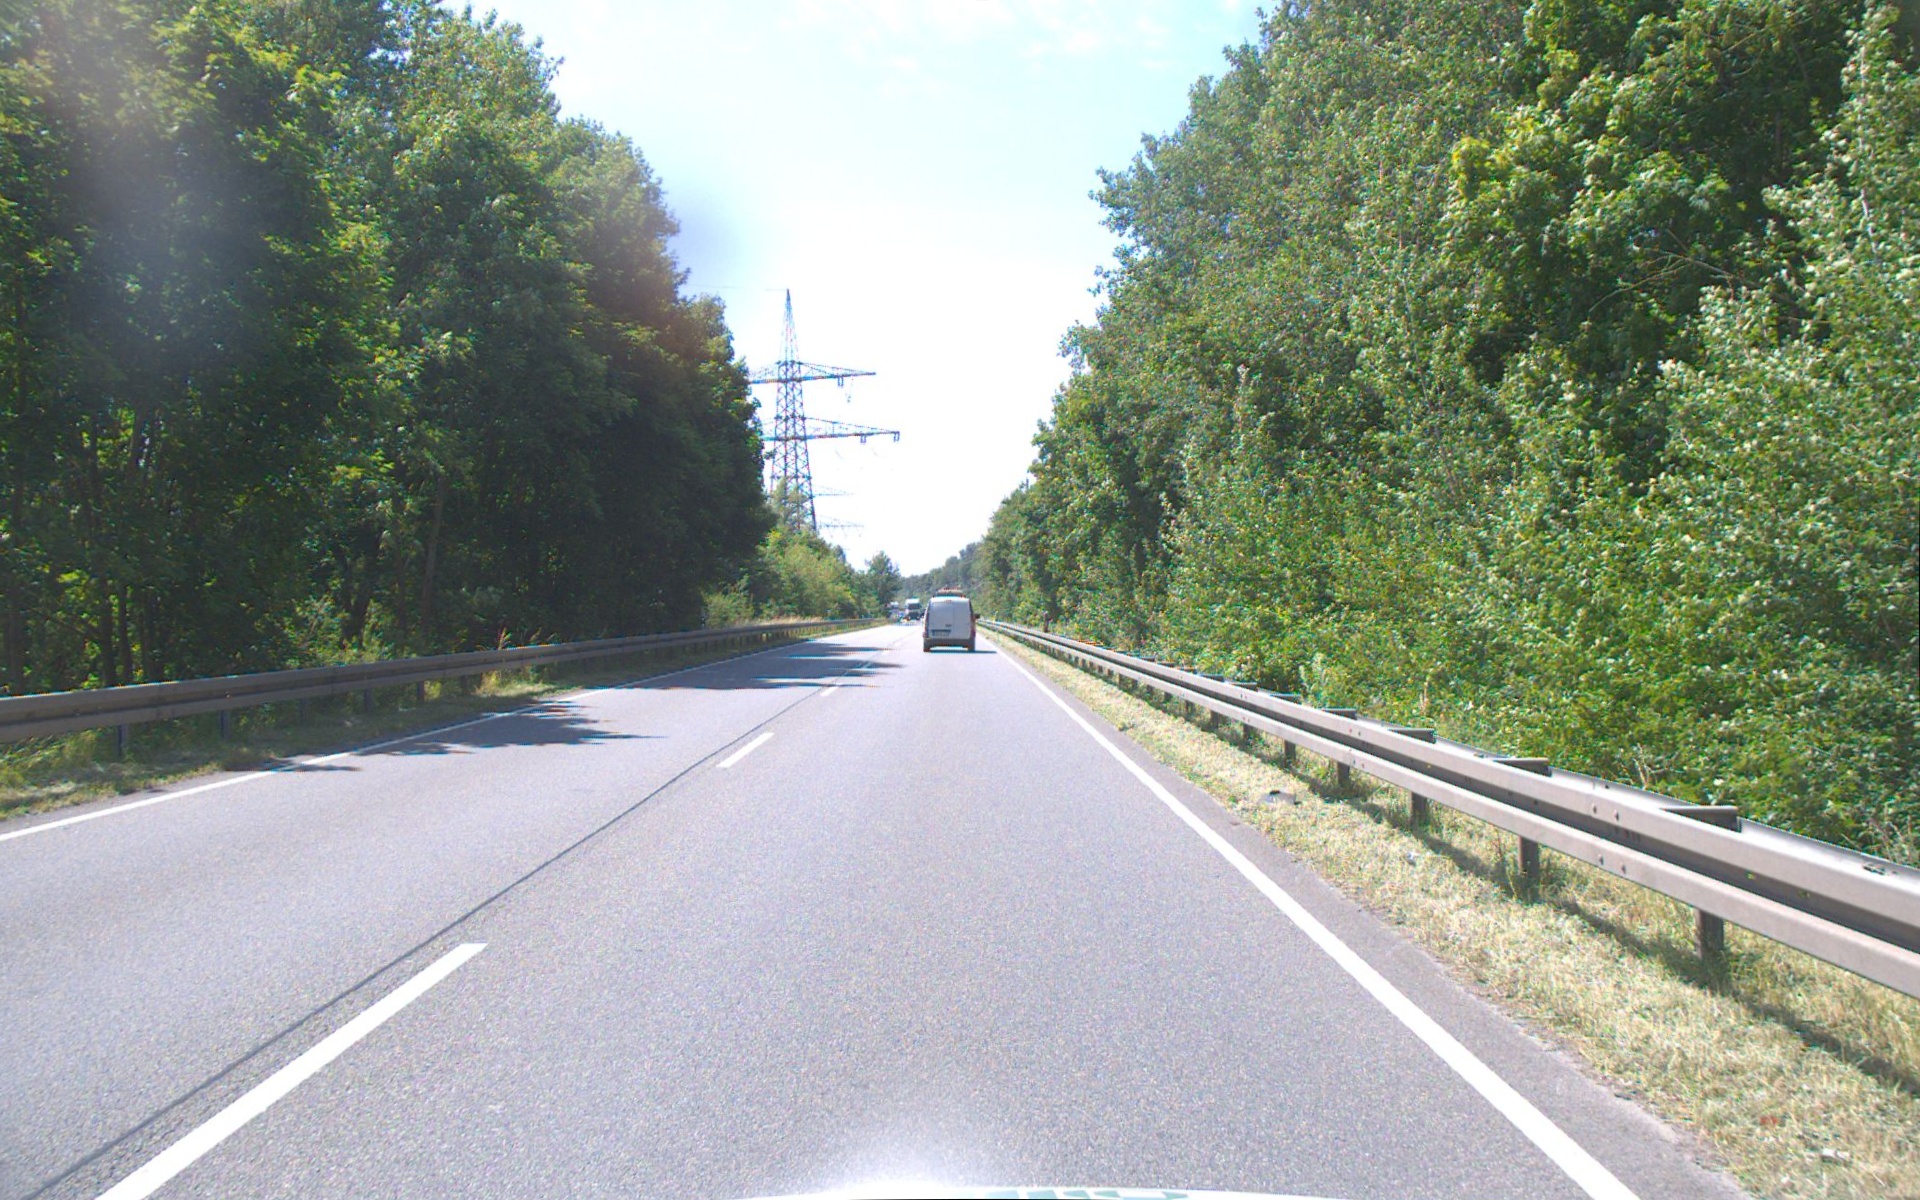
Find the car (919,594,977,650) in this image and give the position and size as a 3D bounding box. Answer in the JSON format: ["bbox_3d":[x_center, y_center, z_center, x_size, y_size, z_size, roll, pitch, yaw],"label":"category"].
[{"bbox_3d":[-0.411,0.713,55.457,1.837,1.772,3.999,1,0,-1],"label":"car"}]

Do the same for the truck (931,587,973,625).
[{"bbox_3d":[-0.818,0.478,149.983,3.231,3.227,14.397,1,0,-3],"label":"truck"}]
